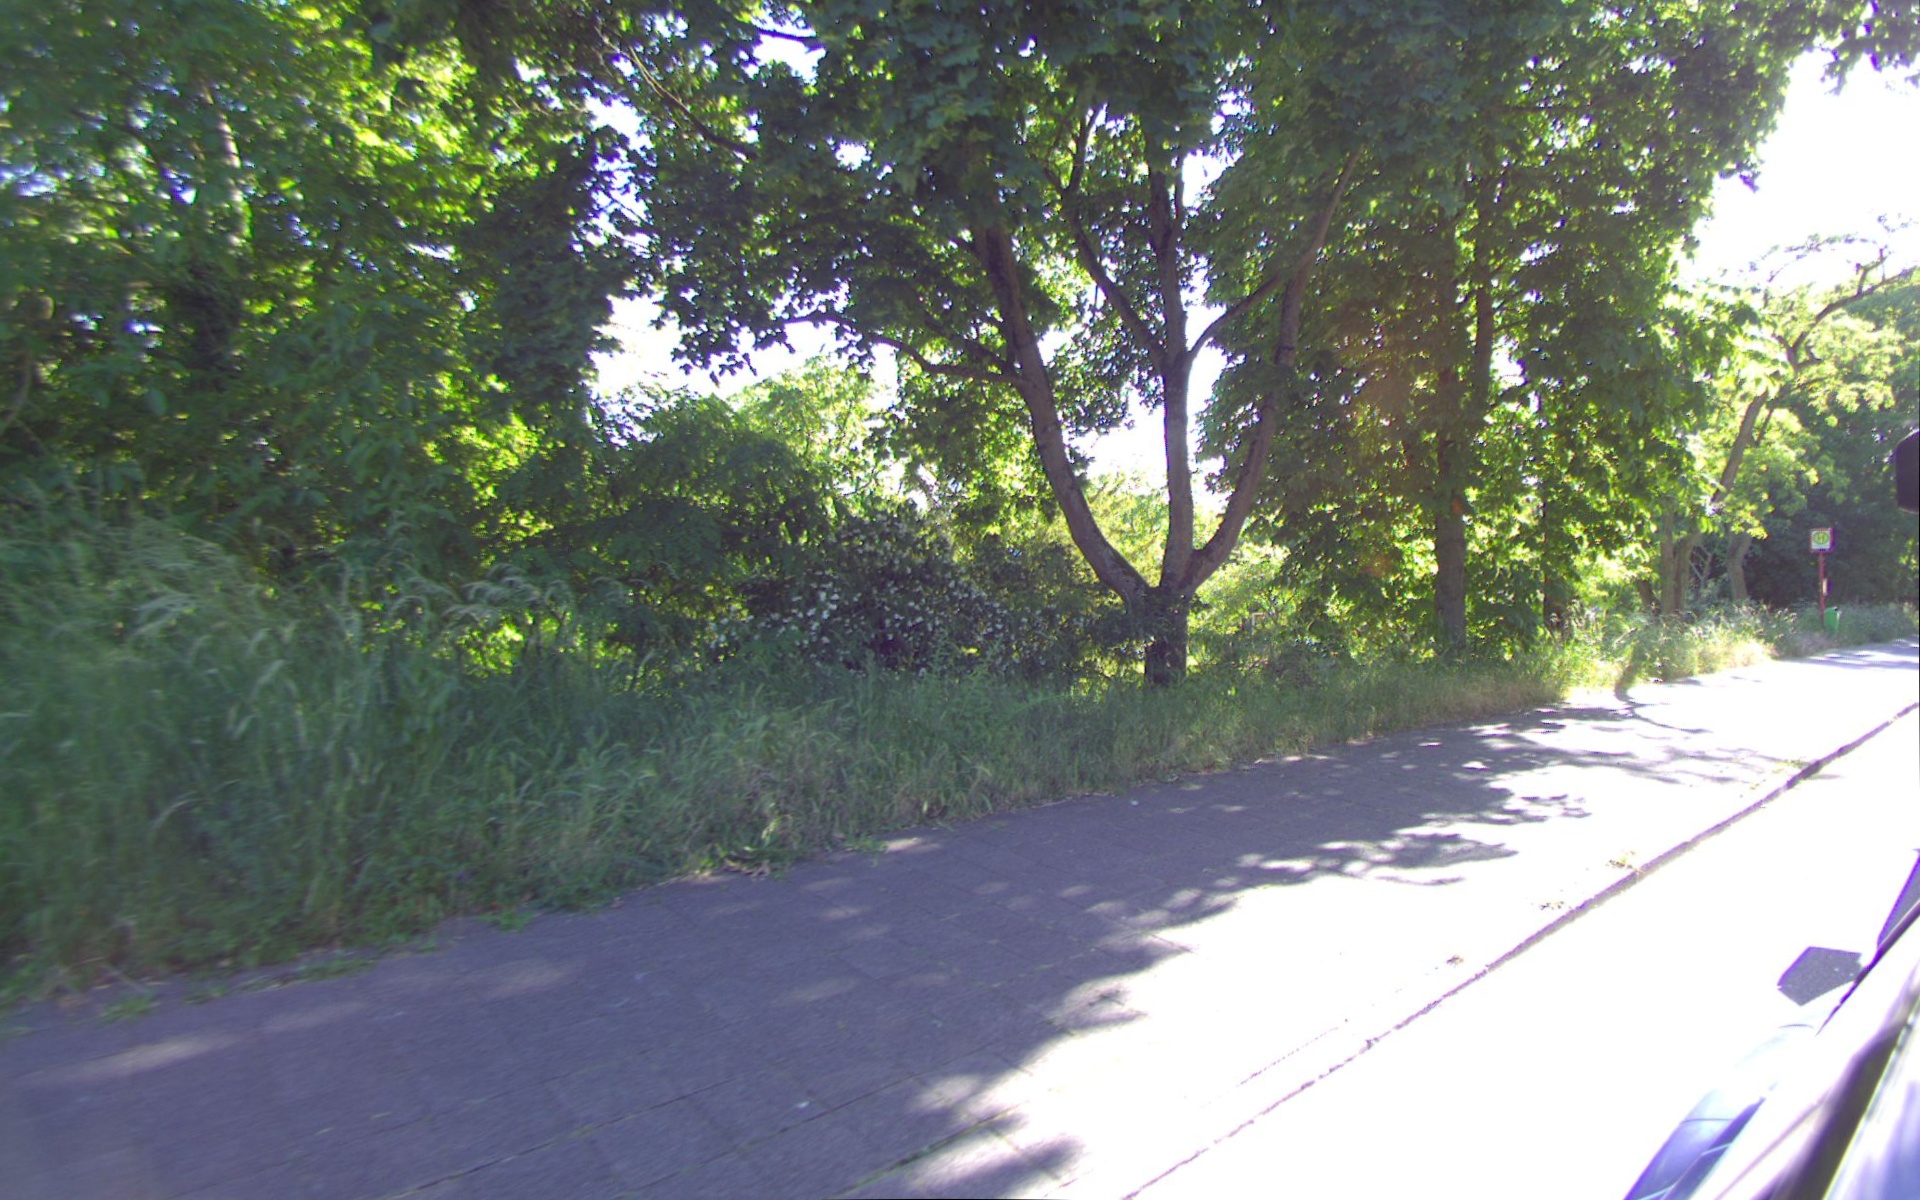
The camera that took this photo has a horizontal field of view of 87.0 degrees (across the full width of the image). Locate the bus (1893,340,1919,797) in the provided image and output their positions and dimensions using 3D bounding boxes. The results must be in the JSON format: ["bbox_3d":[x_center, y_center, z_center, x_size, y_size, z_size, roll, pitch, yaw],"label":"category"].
[{"bbox_3d":[12.147,-0.247,9.875,12.260,3.137,3.125,0,0,-41],"label":"bus"}]
